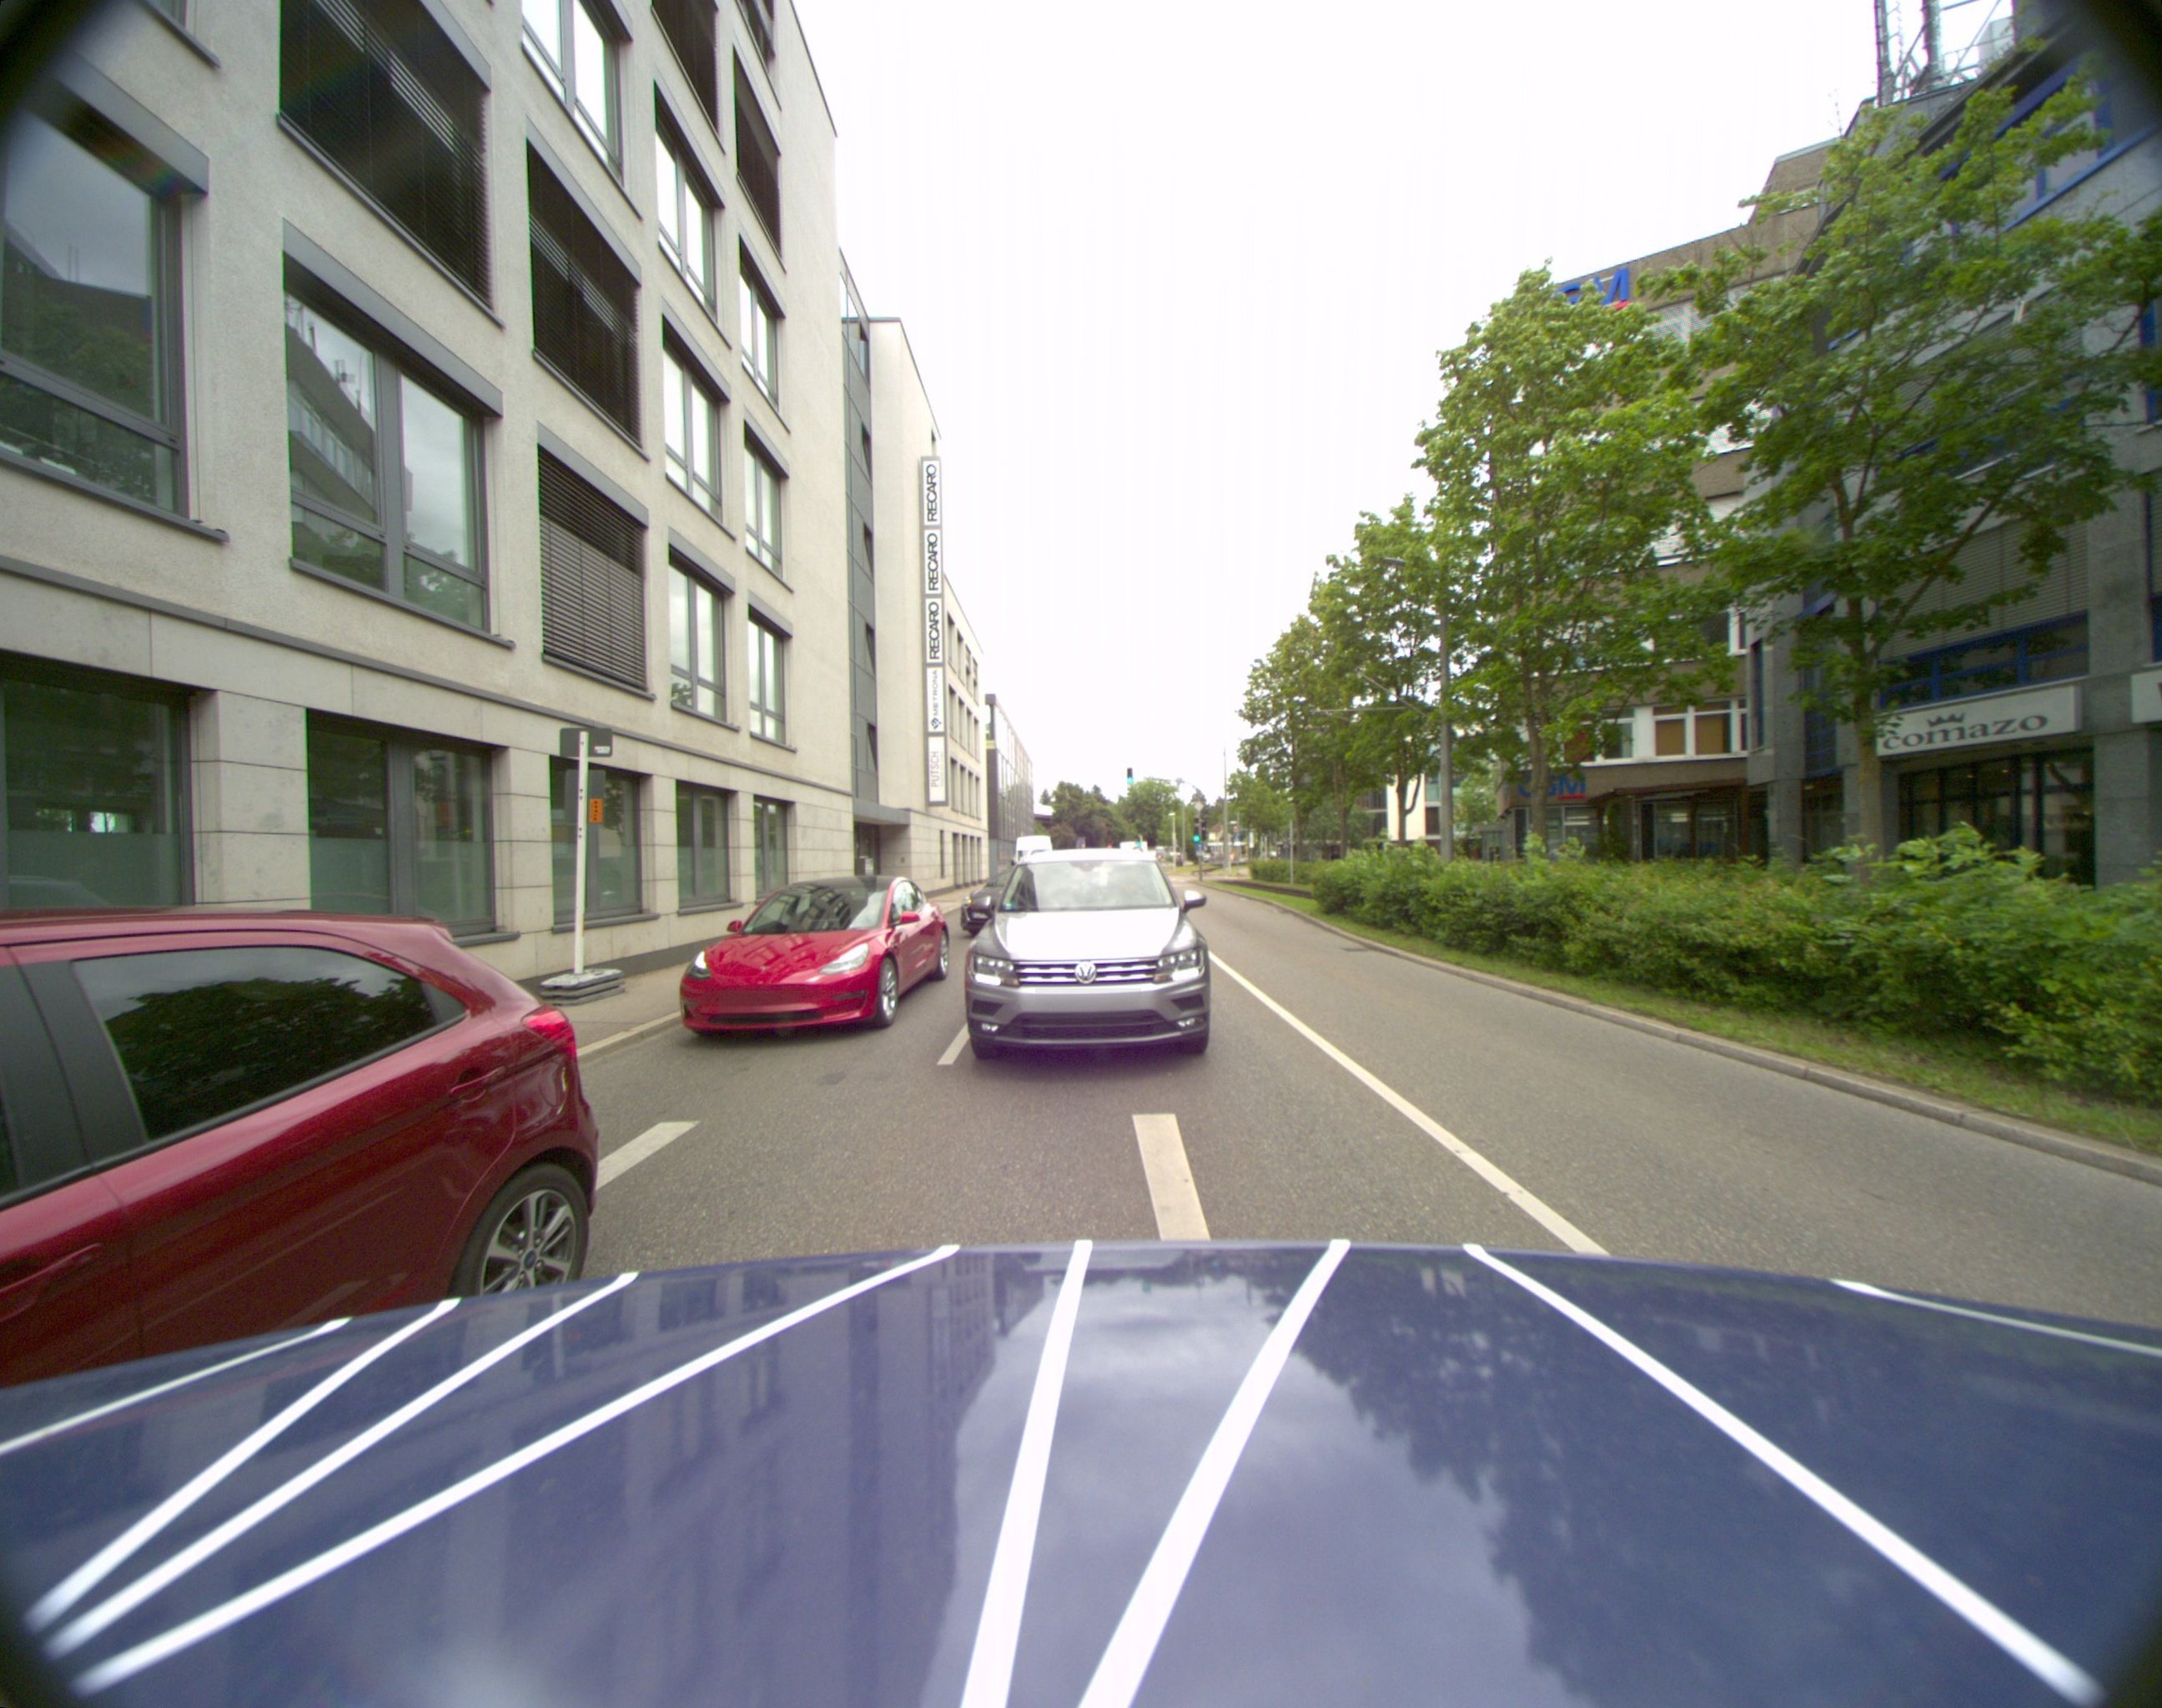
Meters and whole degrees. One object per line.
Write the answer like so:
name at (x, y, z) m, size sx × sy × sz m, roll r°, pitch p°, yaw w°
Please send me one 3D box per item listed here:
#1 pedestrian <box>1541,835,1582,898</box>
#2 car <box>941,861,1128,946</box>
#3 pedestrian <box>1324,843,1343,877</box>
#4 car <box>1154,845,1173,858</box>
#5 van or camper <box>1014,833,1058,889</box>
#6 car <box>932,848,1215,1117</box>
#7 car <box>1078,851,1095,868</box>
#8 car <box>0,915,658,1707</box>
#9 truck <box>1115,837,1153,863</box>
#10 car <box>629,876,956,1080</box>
pedestrian at (14.021, 0.355, 22.187) m, size 0.680 × 1.795 × 0.731 m, roll -2°, pitch 1°, yaw -4°
car at (-0.911, 0.988, 16.324) m, size 1.742 × 1.449 × 3.741 m, roll -3°, pitch 0°, yaw 44°
pedestrian at (14.457, 0.324, 43.456) m, size 0.816 × 1.912 × 0.731 m, roll -2°, pitch 1°, yaw 0°
car at (13.927, -0.409, 127.982) m, size 1.995 × 2.002 × 4.006 m, roll -1°, pitch 1°, yaw 24°
van or camper at (-2.450, 0.321, 40.596) m, size 2.113 × 2.718 × 6.148 m, roll -2°, pitch 1°, yaw -4°
car at (-0.013, 0.826, 7.154) m, size 1.798 × 1.716 × 4.458 m, roll -1°, pitch 0°, yaw 1°
car at (0.720, 0.641, 96.201) m, size 1.998 × 2.002 × 4.000 m, roll -2°, pitch 1°, yaw 1°
car at (-2.710, 1.038, 1.049) m, size 1.890 × 1.483 × 4.000 m, roll -4°, pitch 0°, yaw 1°
truck at (8.168, -0.656, 116.869) m, size 2.317 × 3.626 × 8.024 m, roll -1°, pitch 1°, yaw 31°
car at (-2.715, 1.078, 8.409) m, size 1.825 × 1.449 × 4.408 m, roll -3°, pitch 0°, yaw 1°
